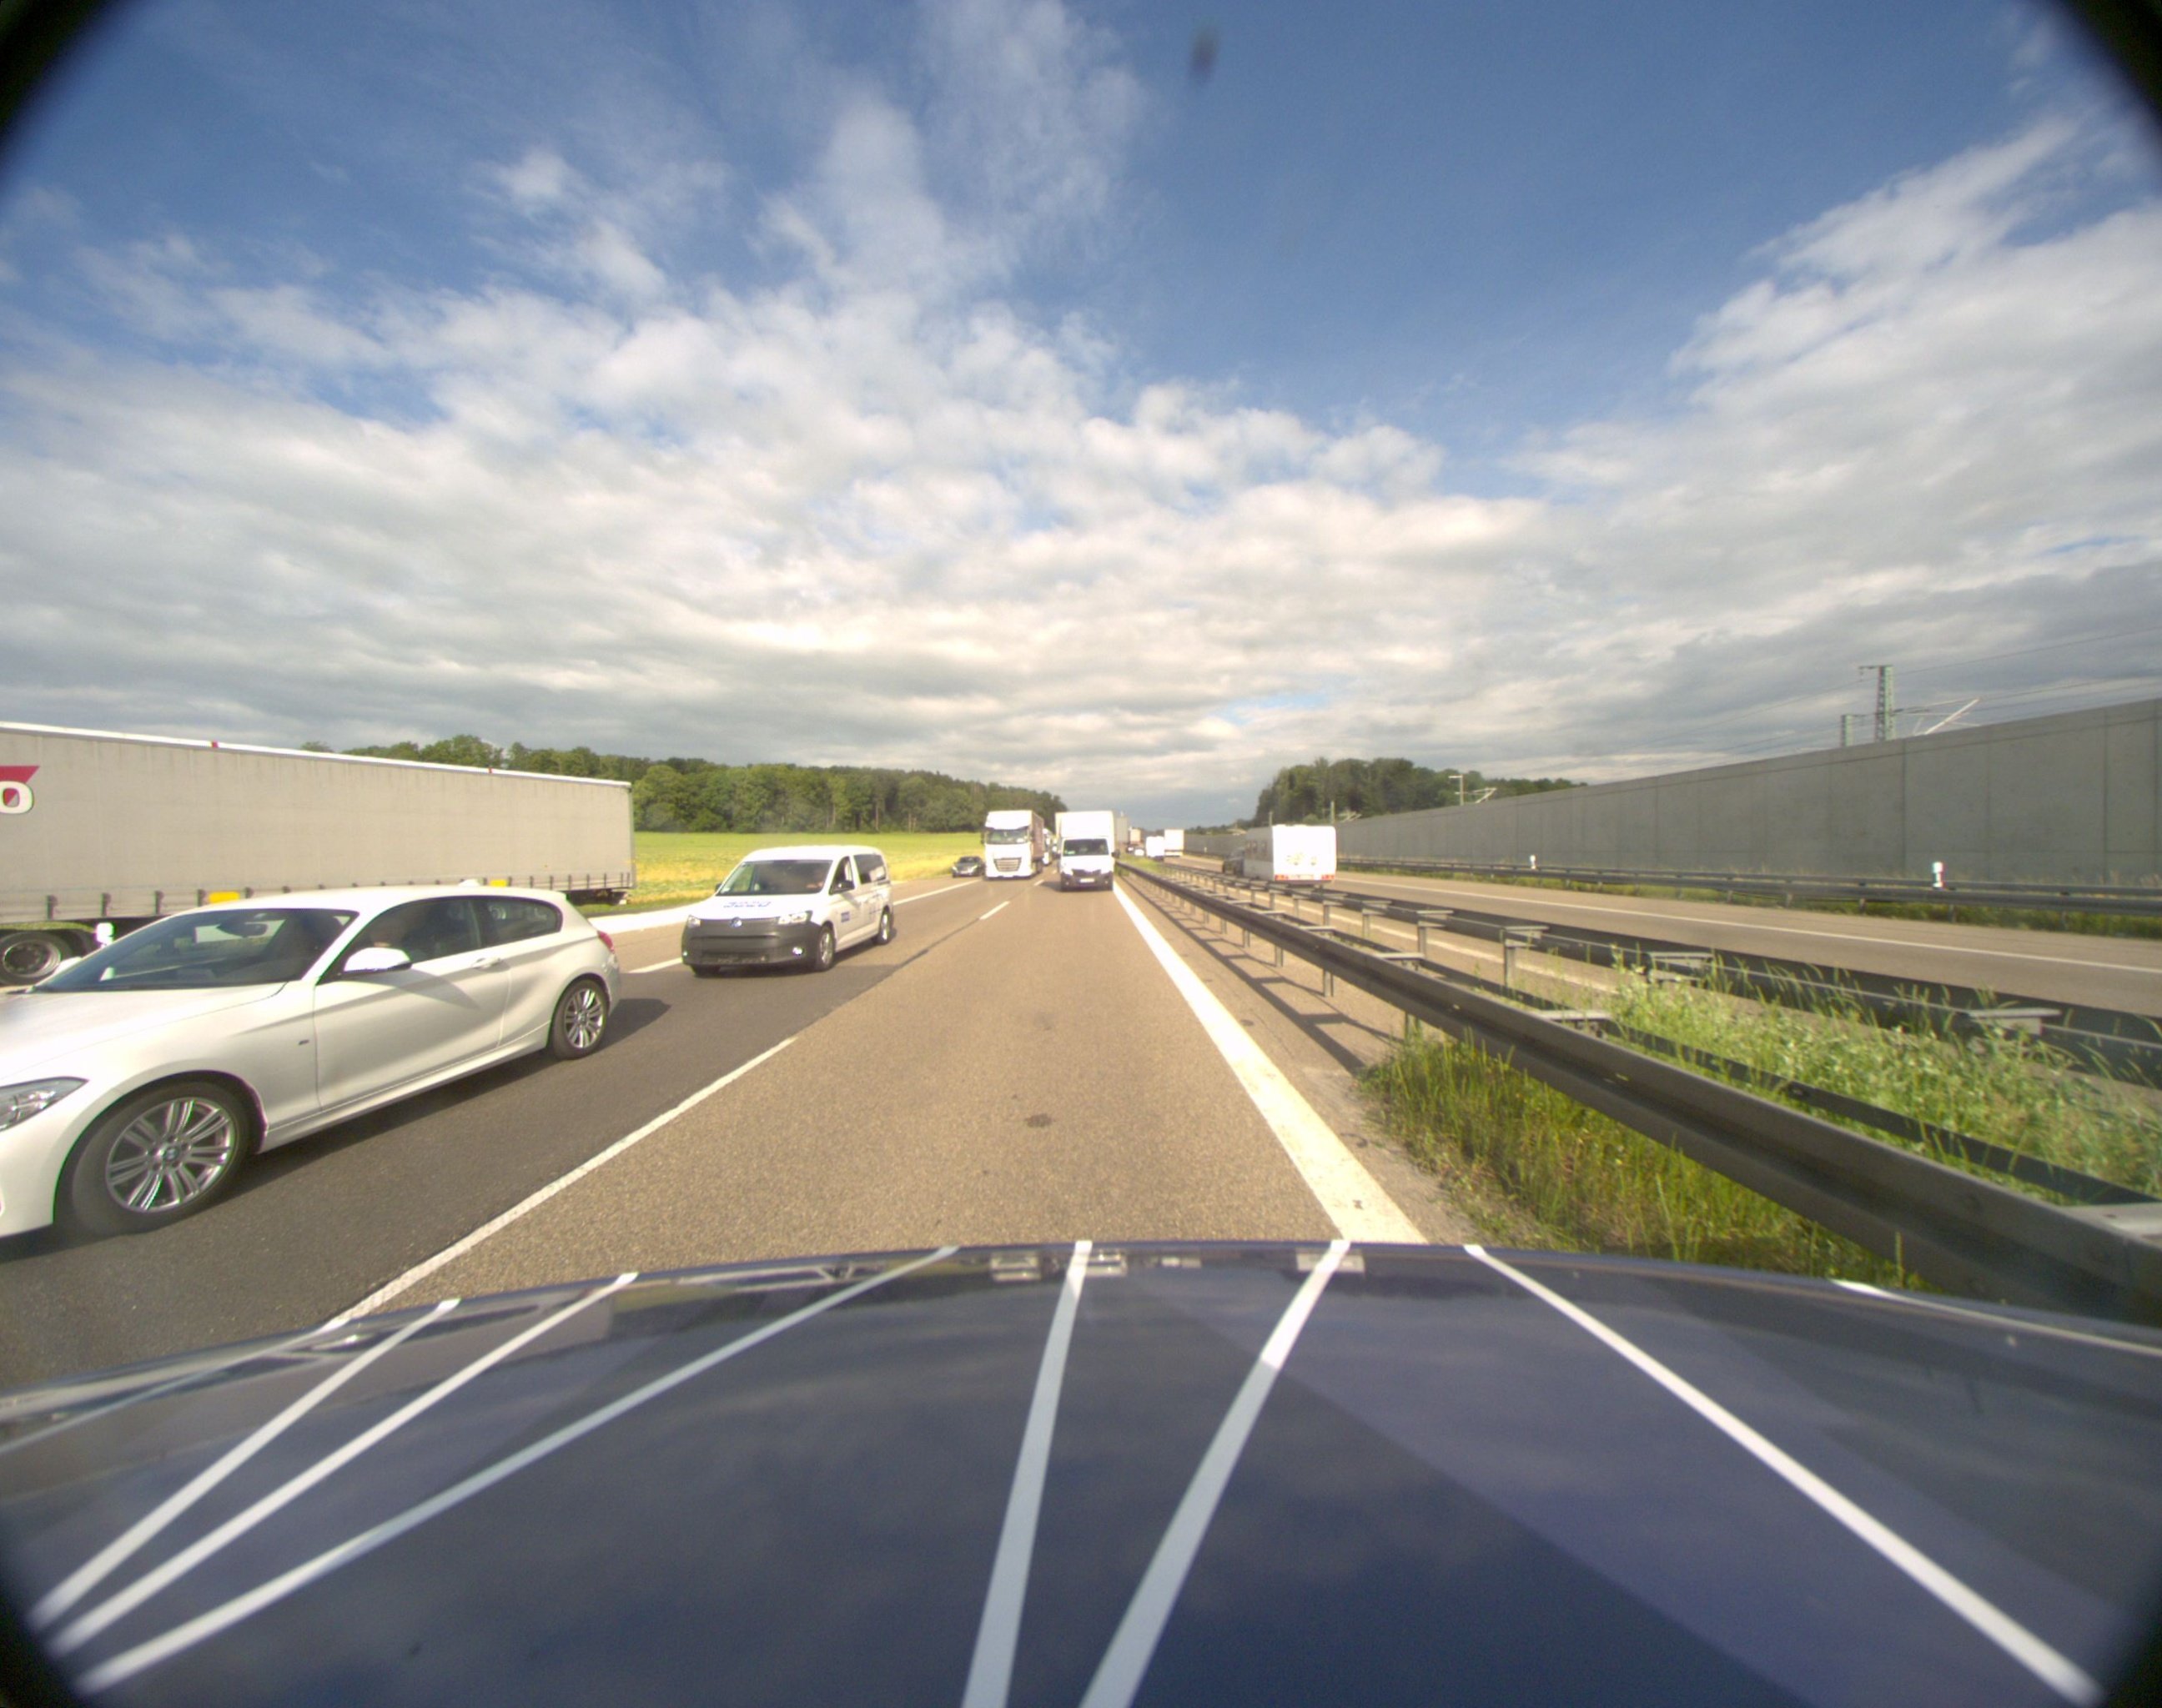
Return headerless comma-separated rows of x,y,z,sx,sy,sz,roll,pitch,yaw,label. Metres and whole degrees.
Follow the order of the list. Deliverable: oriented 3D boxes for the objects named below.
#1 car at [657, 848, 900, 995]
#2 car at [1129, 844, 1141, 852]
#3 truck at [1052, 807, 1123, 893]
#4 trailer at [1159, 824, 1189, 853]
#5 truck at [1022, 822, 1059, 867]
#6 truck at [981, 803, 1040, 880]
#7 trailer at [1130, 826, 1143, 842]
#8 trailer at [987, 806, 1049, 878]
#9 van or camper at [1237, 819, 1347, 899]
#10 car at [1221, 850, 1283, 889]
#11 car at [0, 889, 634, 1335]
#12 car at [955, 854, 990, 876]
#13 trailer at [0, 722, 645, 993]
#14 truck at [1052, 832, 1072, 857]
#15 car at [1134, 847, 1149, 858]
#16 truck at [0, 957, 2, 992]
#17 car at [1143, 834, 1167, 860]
-4.294,0.821,11.745,1.729,1.746,4.702,-3,1,1,car
9.289,-1.033,131.184,1.656,1.443,3.955,-1,1,-1,car
0.260,-0.175,33.994,2.500,3.082,12.037,-2,0,0,truck
13.595,-2.187,112.156,2.797,4.054,13.518,0,1,0,trailer
-3.980,-0.917,76.794,2.946,4.094,12.523,-1,1,0,truck
-4.013,-0.720,44.736,2.736,4.150,5.766,-2,1,0,truck
14.859,-5.308,203.996,2.690,4.014,13.790,-1,0,0,trailer
-3.973,-0.843,51.319,2.742,4.137,14.016,-2,1,0,trailer
7.903,0.153,29.445,2.258,2.688,7.169,-1,0,0,van or camper
7.849,0.644,35.268,1.915,1.662,4.361,-1,0,0,car
-4.799,1.059,4.505,1.708,1.424,4.232,-2,0,1,car
-7.484,0.724,52.613,1.707,1.345,4.183,-3,0,1,car
-16.462,0.031,16.717,2.739,4.136,13.843,-2,0,15,trailer
-3.170,-1.605,131.468,2.946,4.094,16.207,-1,0,0,truck
8.585,-0.261,107.782,1.878,1.443,4.232,-1,1,1,car
-18.435,0.104,9.590,2.717,4.149,4.765,-2,0,15,truck
8.355,-0.784,85.930,2.109,2.854,5.636,-1,1,0,car
